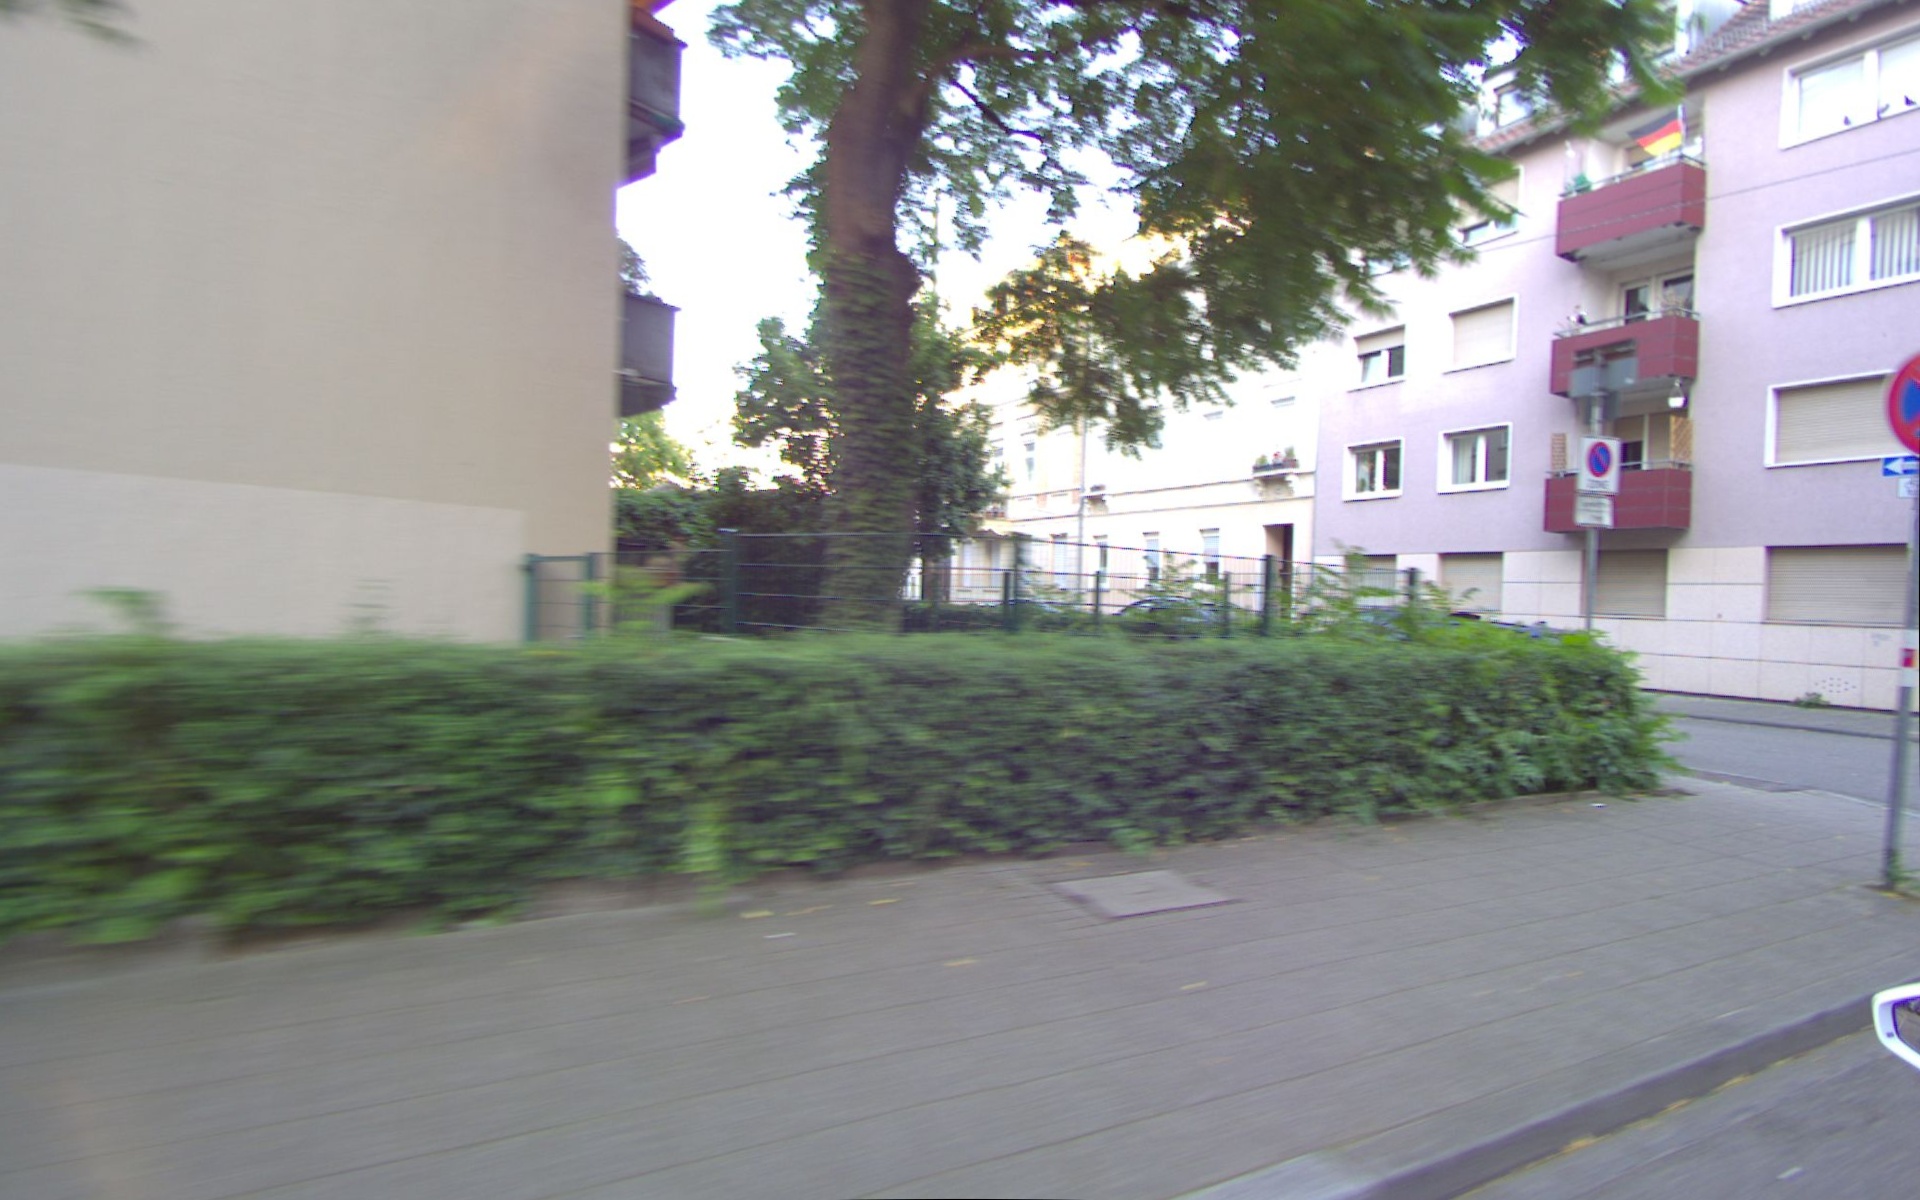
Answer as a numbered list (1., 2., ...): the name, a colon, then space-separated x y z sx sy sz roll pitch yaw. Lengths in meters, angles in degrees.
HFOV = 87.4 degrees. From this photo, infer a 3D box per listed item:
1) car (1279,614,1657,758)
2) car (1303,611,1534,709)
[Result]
1. car: 6.650 1.035 13.687 1.707 1.501 4.349 3 0 -30
2. car: 9.211 1.156 20.489 1.800 1.656 3.943 4 -1 -29
